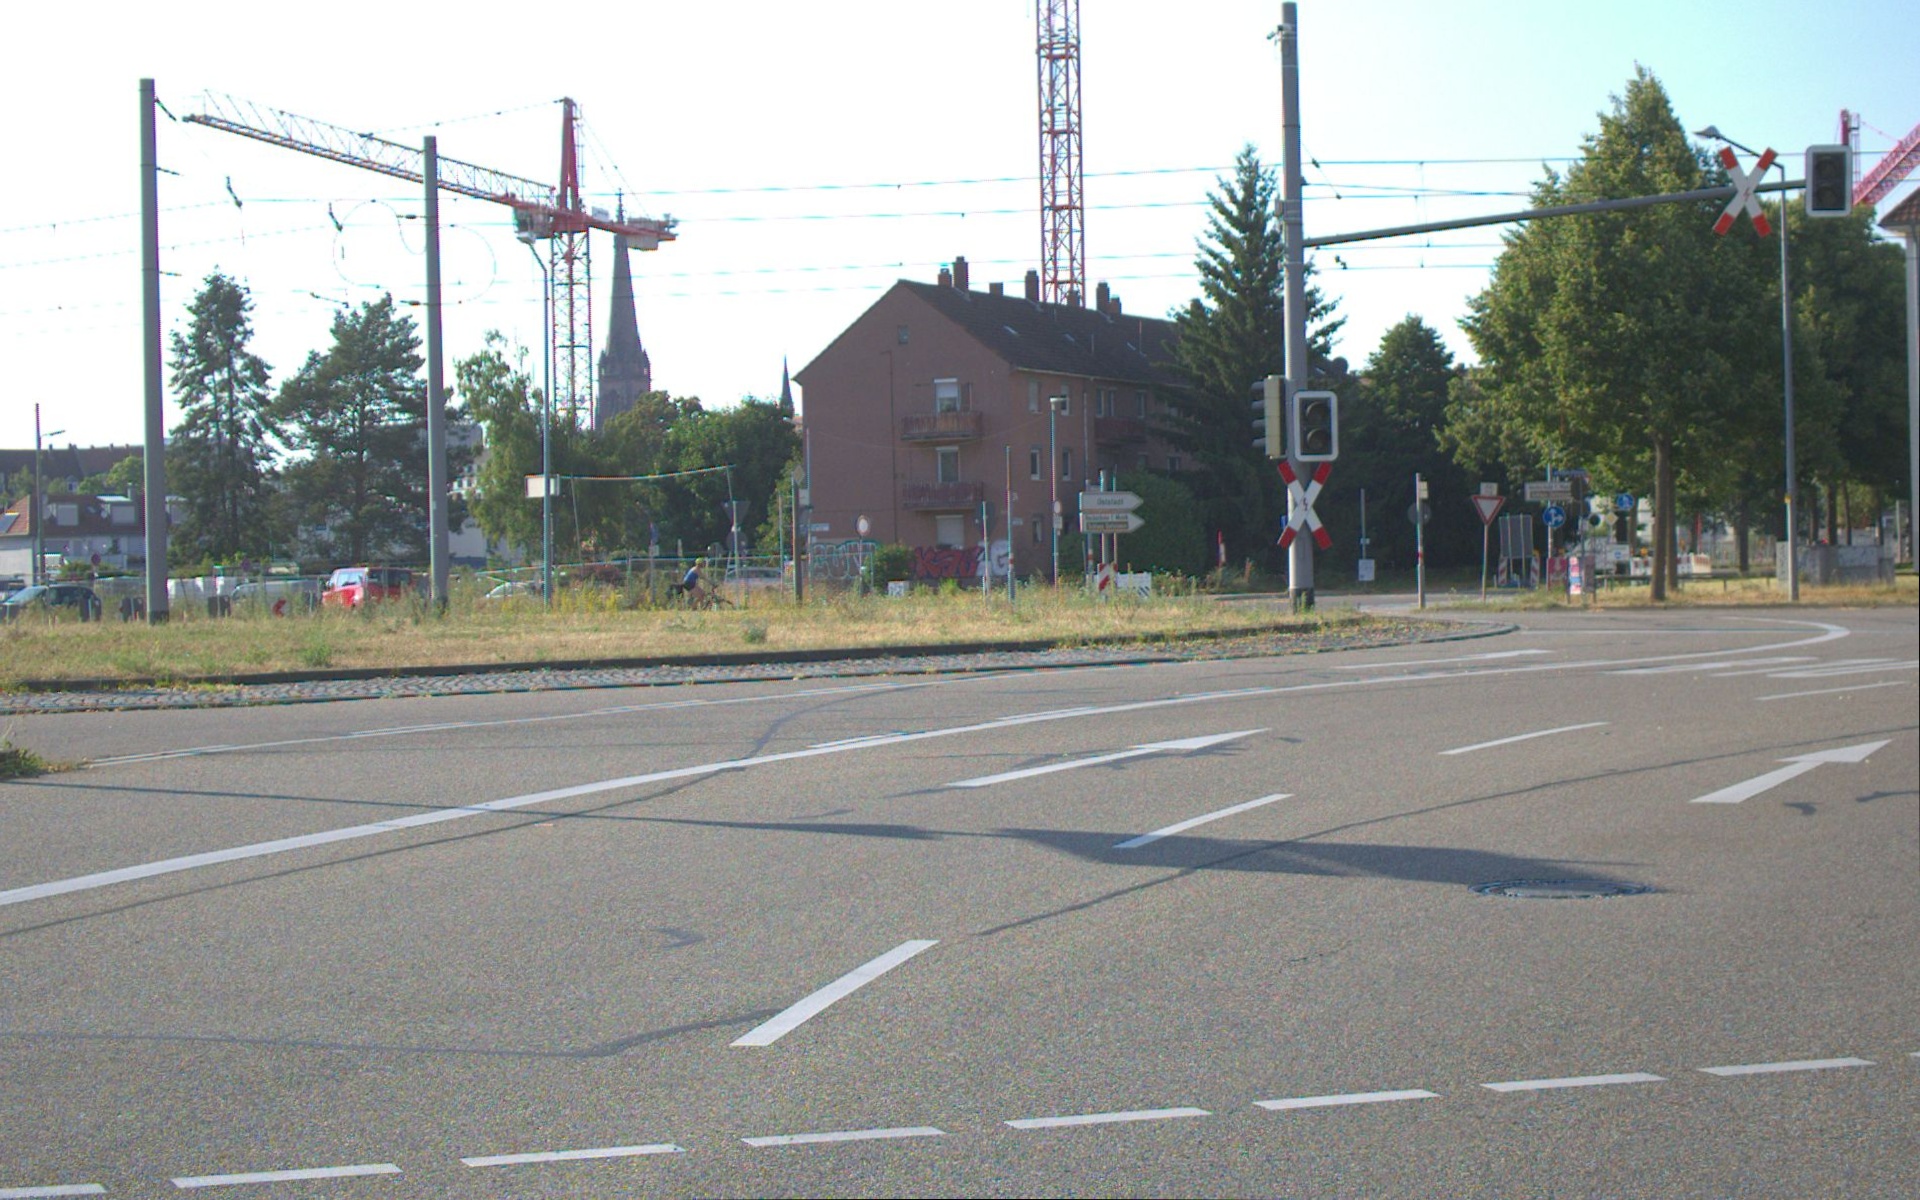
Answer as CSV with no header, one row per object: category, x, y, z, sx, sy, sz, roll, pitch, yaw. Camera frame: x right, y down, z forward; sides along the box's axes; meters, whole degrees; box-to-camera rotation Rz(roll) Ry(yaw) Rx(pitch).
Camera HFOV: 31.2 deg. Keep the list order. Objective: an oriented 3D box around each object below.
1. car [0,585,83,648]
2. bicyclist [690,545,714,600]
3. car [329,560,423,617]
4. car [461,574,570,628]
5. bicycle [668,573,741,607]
car,-29.045,0.511,104.822,3.987,1.809,2.000,-2,1,-32
bicyclist,-7.201,-0.769,95.834,0.622,1.506,0.419,-1,1,-5
car,-19.801,-0.409,116.421,1.919,1.847,4.000,-2,1,-28
car,-17.166,0.026,132.776,3.812,2.007,1.670,-1,0,19
bicycle,-7.122,-0.284,95.847,1.987,0.915,0.430,-1,1,-6
